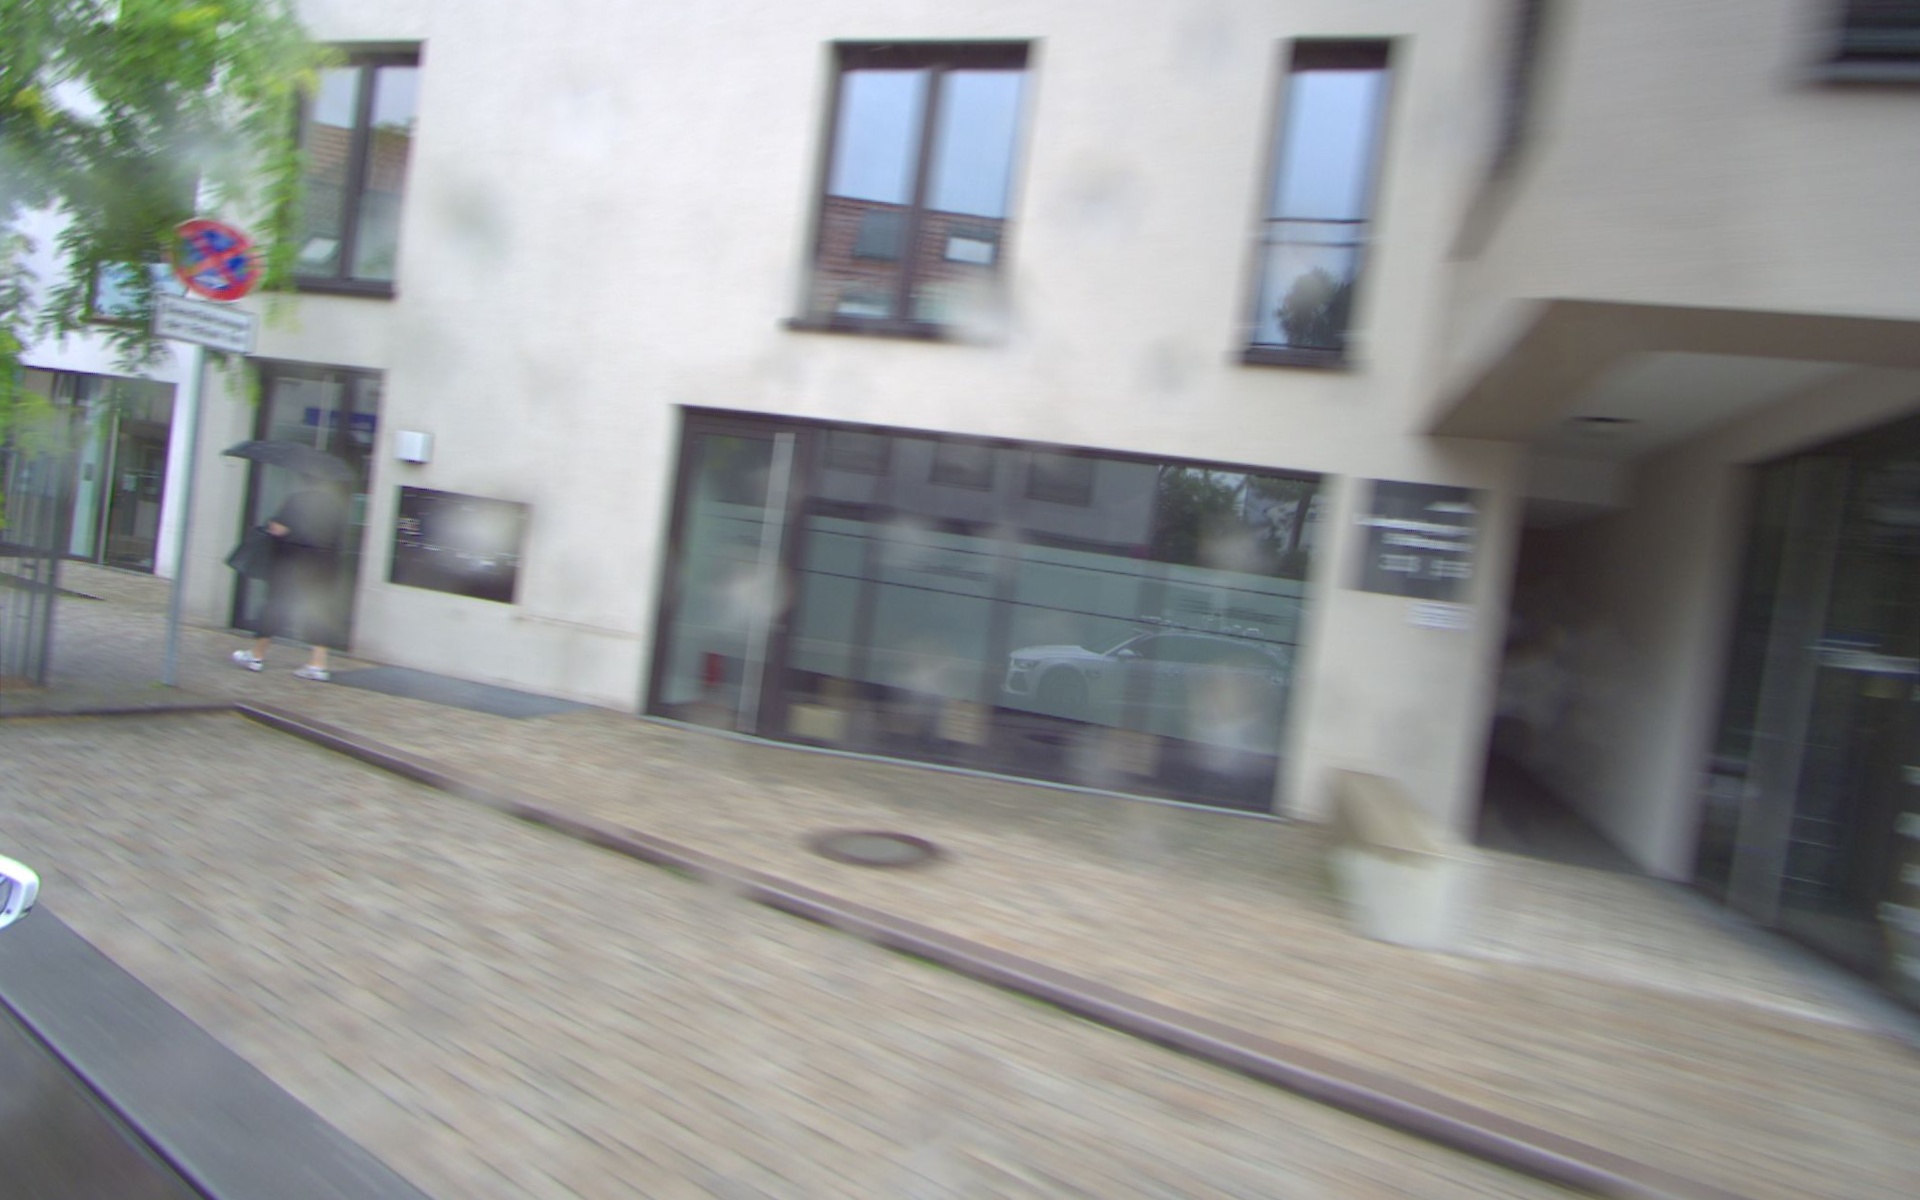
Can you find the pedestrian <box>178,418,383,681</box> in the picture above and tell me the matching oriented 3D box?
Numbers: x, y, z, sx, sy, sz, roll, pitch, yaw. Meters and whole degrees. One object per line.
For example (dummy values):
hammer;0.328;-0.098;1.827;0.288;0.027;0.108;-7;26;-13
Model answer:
pedestrian;-5.703;-0.411;8.462;1.064;2.038;0.869;6;-1;30
